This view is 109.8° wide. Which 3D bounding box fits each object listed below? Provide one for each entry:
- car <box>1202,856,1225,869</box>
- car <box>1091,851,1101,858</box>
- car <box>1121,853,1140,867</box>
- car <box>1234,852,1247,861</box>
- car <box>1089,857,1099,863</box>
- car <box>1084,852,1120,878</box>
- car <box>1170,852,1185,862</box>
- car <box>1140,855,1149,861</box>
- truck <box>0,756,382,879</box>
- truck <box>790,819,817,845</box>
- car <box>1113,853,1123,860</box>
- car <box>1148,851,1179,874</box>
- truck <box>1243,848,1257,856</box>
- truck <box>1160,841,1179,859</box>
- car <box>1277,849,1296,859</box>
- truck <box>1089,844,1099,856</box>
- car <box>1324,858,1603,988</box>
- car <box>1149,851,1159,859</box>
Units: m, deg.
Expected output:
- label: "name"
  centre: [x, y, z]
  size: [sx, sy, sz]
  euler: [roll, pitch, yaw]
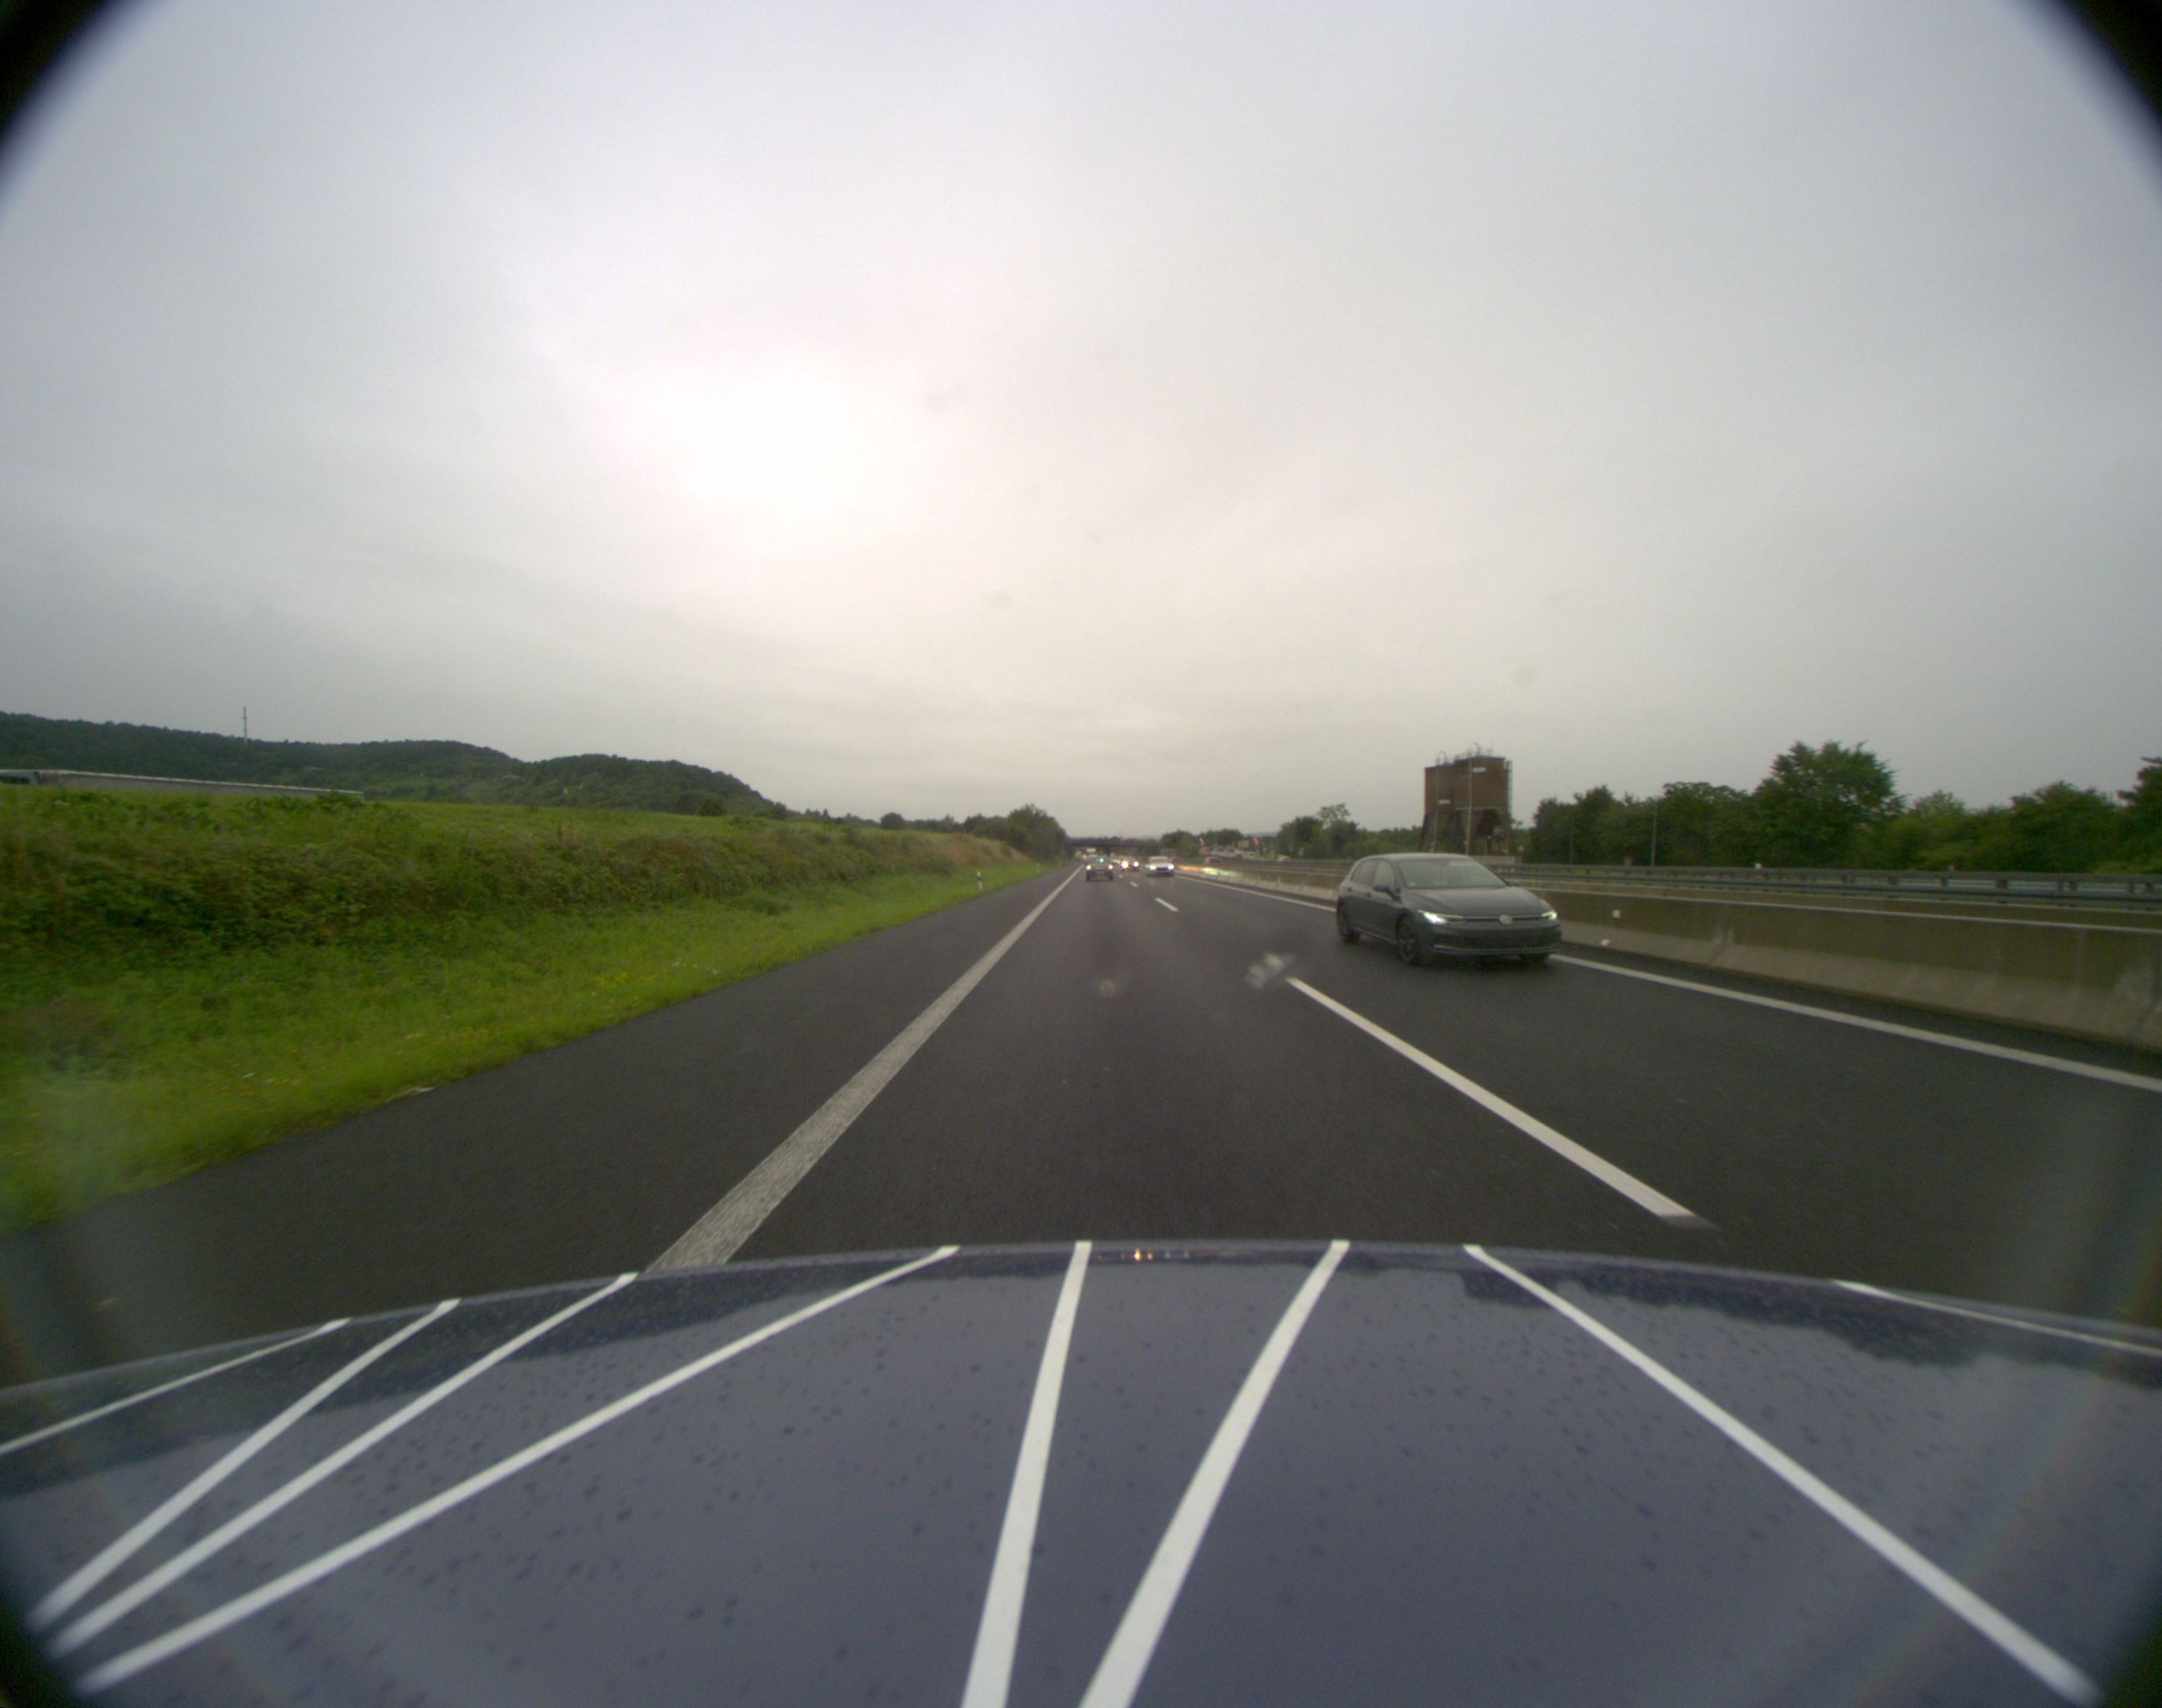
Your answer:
- label: "car"
  centre: [14.197, 0.899, 81.324]
  size: [1.860, 1.383, 4.445]
  euler: [-1, 0, 2]
- label: "car"
  centre: [3.266, 0.144, 166.018]
  size: [1.942, 1.341, 4.000]
  euler: [-3, 0, 1]
- label: "car"
  centre: [5.123, 0.617, 78.854]
  size: [1.835, 1.417, 4.368]
  euler: [-1, 0, 2]
- label: "car"
  centre: [33.143, 0.567, 158.059]
  size: [1.908, 1.797, 4.461]
  euler: [-1, 0, 0]
- label: "car"
  centre: [2.718, 1.269, 159.893]
  size: [1.942, 1.341, 4.000]
  euler: [-3, 0, 1]
- label: "car"
  centre: [1.424, 0.720, 50.359]
  size: [2.242, 1.565, 4.817]
  euler: [-2, 0, 2]
- label: "car"
  centre: [14.934, 0.485, 117.436]
  size: [1.802, 1.499, 4.000]
  euler: [0, 0, 1]
- label: "car"
  centre: [16.190, 0.959, 193.465]
  size: [1.785, 1.622, 3.999]
  euler: [0, 0, -1]
- label: "truck"
  centre: [-41.792, -1.363, 35.089]
  size: [3.831, 4.514, 16.879]
  euler: [-1, 1, -2]
- label: "truck"
  centre: [-45.145, -3.574, 123.643]
  size: [2.515, 3.963, 5.925]
  euler: [-2, 1, -5]
- label: "car"
  centre: [7.268, 0.447, 149.712]
  size: [1.941, 1.341, 4.001]
  euler: [-3, 0, 1]
- label: "car"
  centre: [6.171, 0.630, 57.168]
  size: [1.998, 1.582, 4.817]
  euler: [-2, 0, 3]
- label: "truck"
  centre: [37.865, -0.393, 170.362]
  size: [1.999, 1.635, 5.405]
  euler: [-3, 0, -1]
- label: "truck"
  centre: [19.897, -0.874, 170.852]
  size: [2.976, 3.689, 11.908]
  euler: [-2, 1, 1]
- label: "car"
  centre: [35.065, -0.003, 129.782]
  size: [1.998, 1.751, 4.505]
  euler: [-1, 0, 1]
- label: "truck"
  centre: [3.753, -1.121, 215.054]
  size: [2.728, 3.098, 7.960]
  euler: [-3, 0, 1]
- label: "car"
  centre: [5.132, 0.814, 10.989]
  size: [1.835, 1.417, 4.367]
  euler: [-2, 0, 0]
- label: "car"
  centre: [15.165, 0.211, 158.653]
  size: [1.717, 1.586, 4.000]
  euler: [-1, 0, 1]
